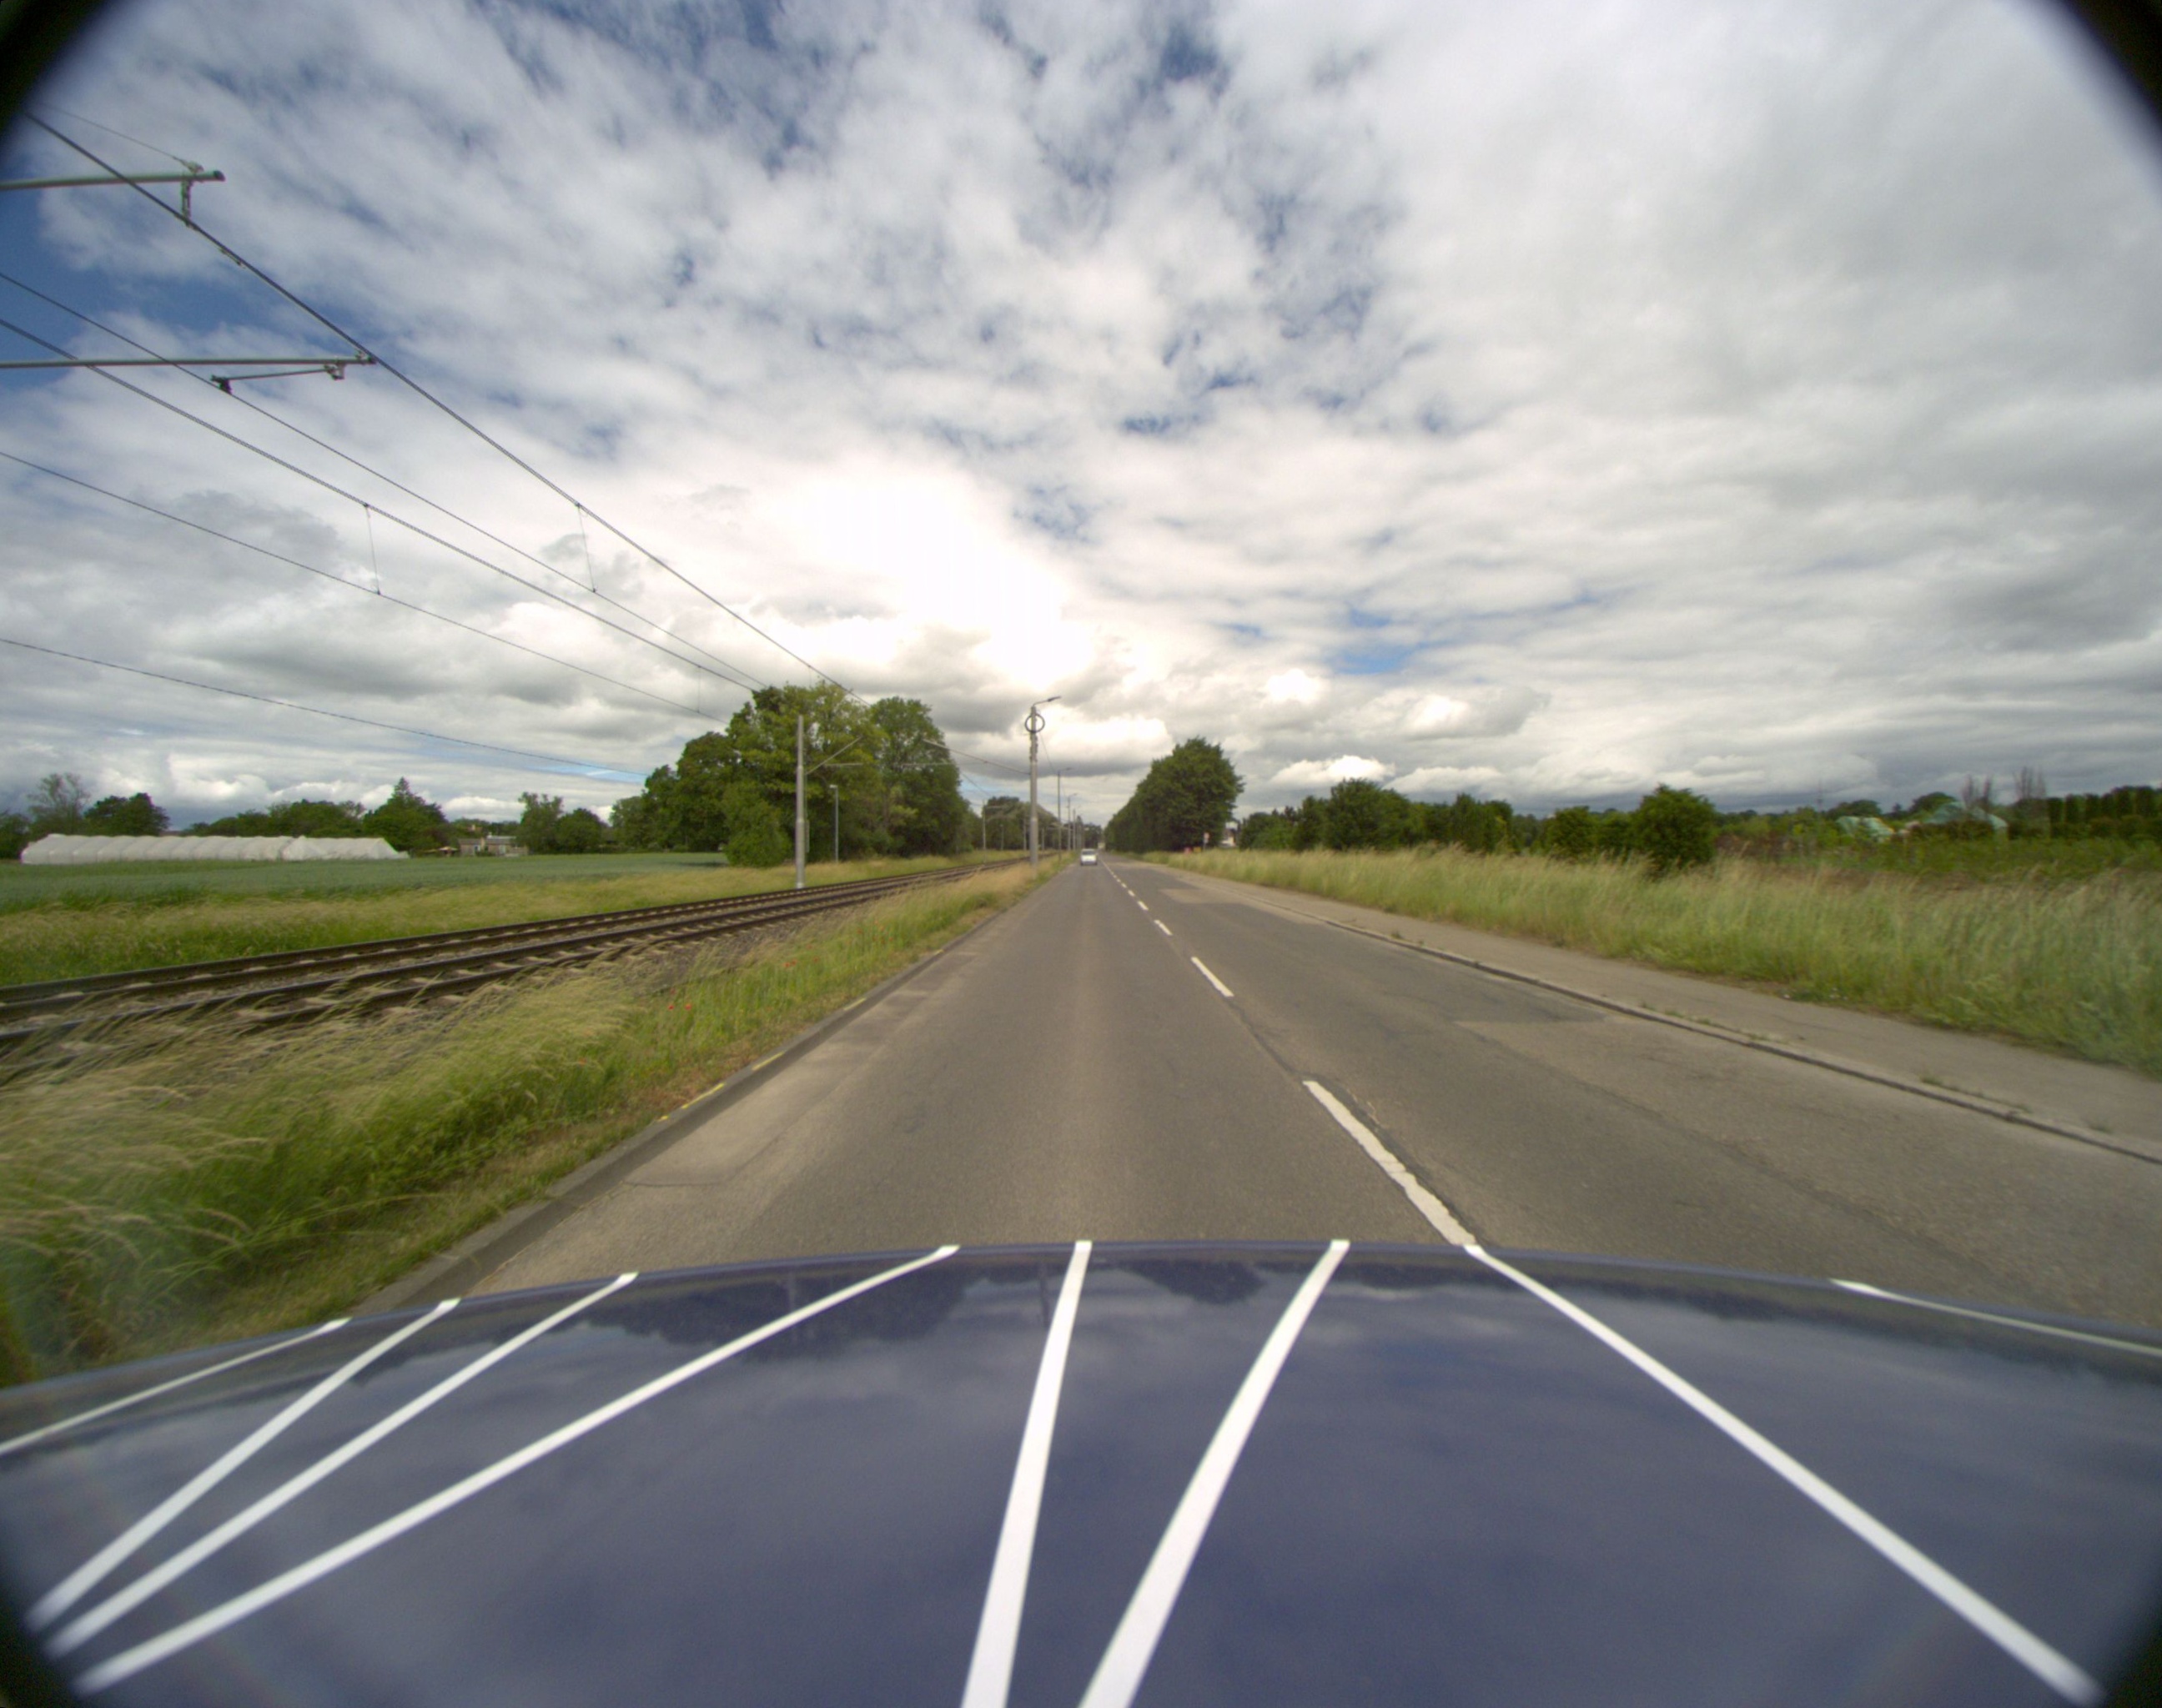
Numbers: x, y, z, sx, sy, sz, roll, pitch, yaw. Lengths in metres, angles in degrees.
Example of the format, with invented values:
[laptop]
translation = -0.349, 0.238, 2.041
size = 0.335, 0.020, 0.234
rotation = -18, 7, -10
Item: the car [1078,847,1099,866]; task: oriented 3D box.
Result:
[car]
translation = 0.780, 0.240, 77.547
size = 1.999, 1.679, 3.999
rotation = -4, 1, 0
